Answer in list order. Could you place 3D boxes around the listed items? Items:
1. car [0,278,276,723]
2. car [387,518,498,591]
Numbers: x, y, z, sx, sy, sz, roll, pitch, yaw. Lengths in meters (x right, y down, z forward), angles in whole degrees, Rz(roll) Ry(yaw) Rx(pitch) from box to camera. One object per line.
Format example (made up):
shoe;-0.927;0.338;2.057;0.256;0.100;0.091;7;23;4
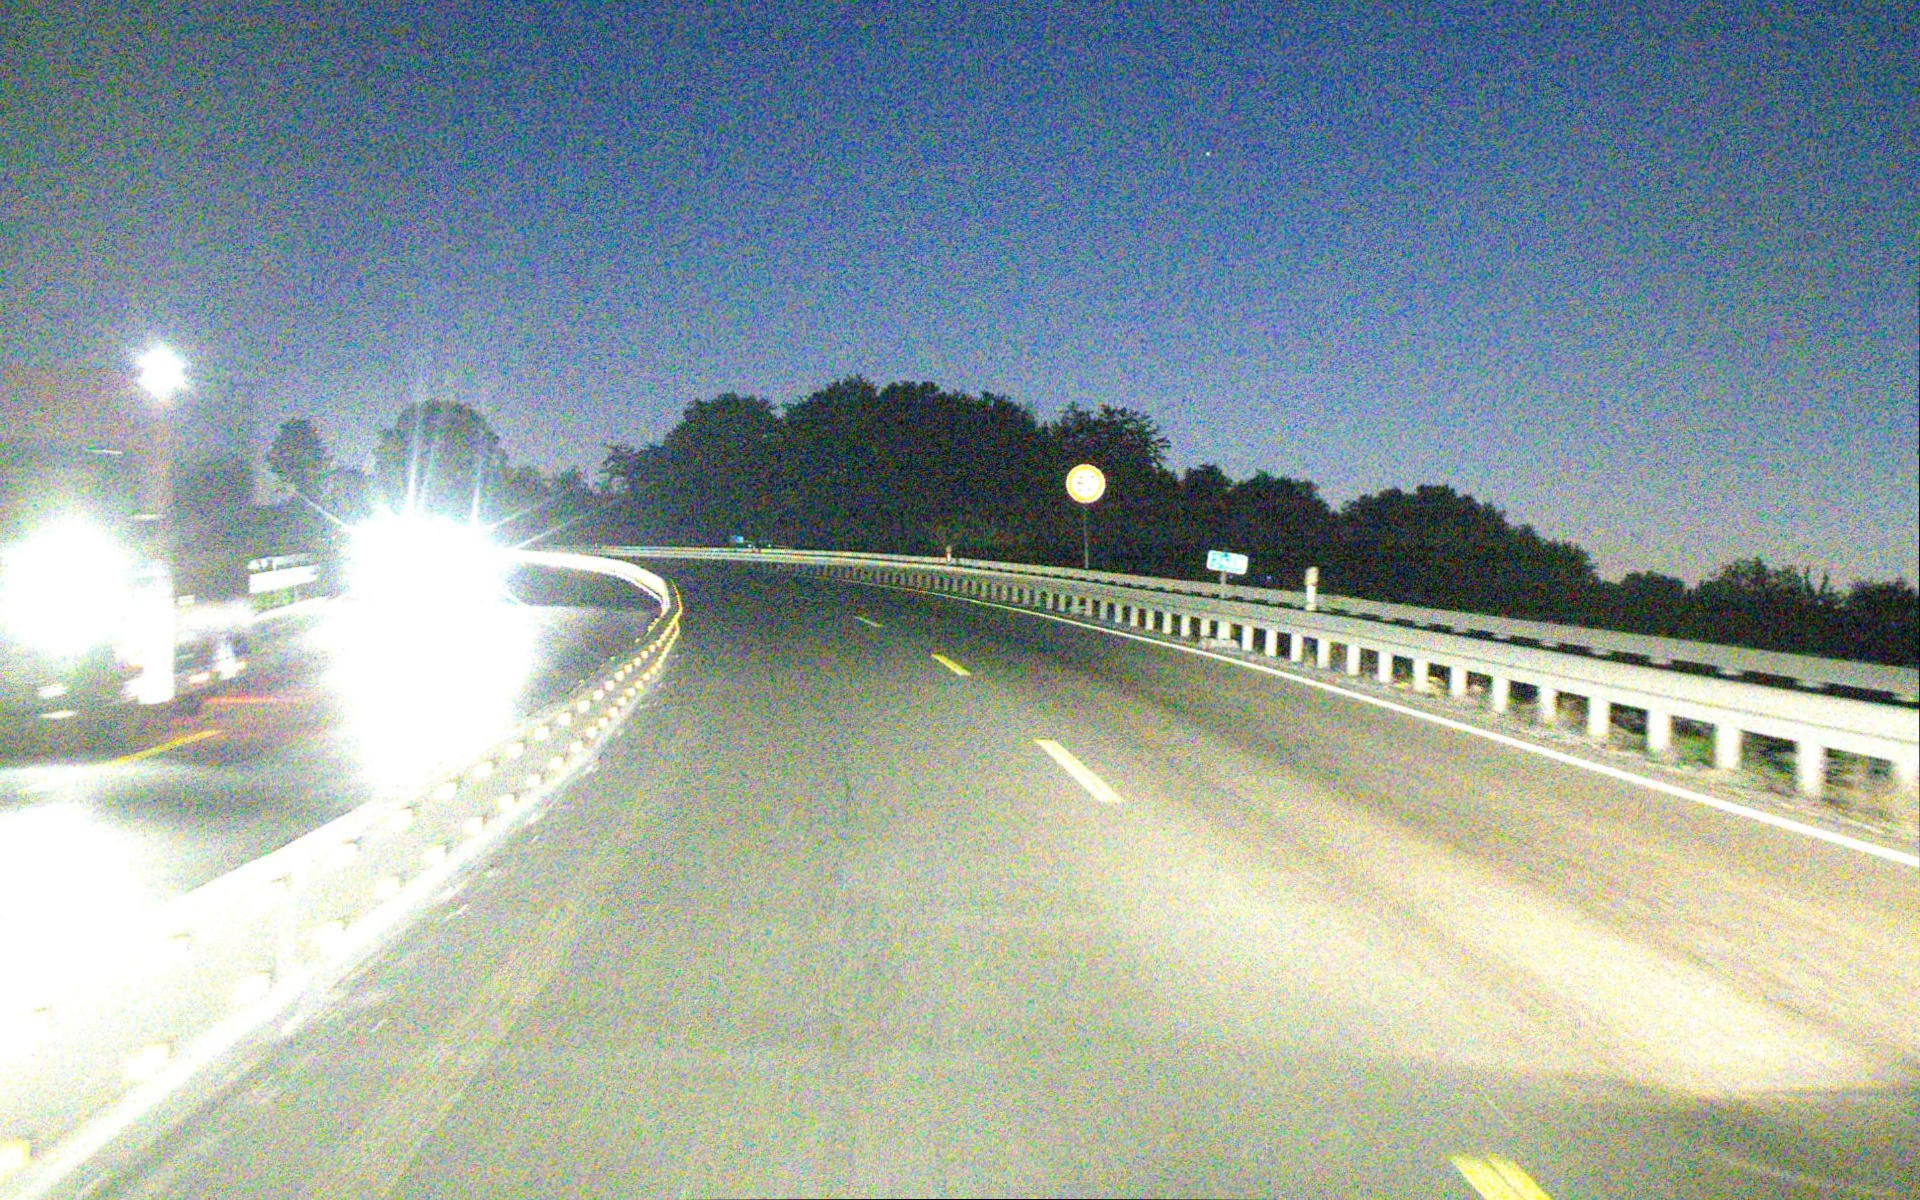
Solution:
car;-7.247;-0.708;27.541;2.486;3.095;7.386;0;0;-3
car;-10.569;-0.954;70.475;1.912;1.421;4.953;0;2;-5
